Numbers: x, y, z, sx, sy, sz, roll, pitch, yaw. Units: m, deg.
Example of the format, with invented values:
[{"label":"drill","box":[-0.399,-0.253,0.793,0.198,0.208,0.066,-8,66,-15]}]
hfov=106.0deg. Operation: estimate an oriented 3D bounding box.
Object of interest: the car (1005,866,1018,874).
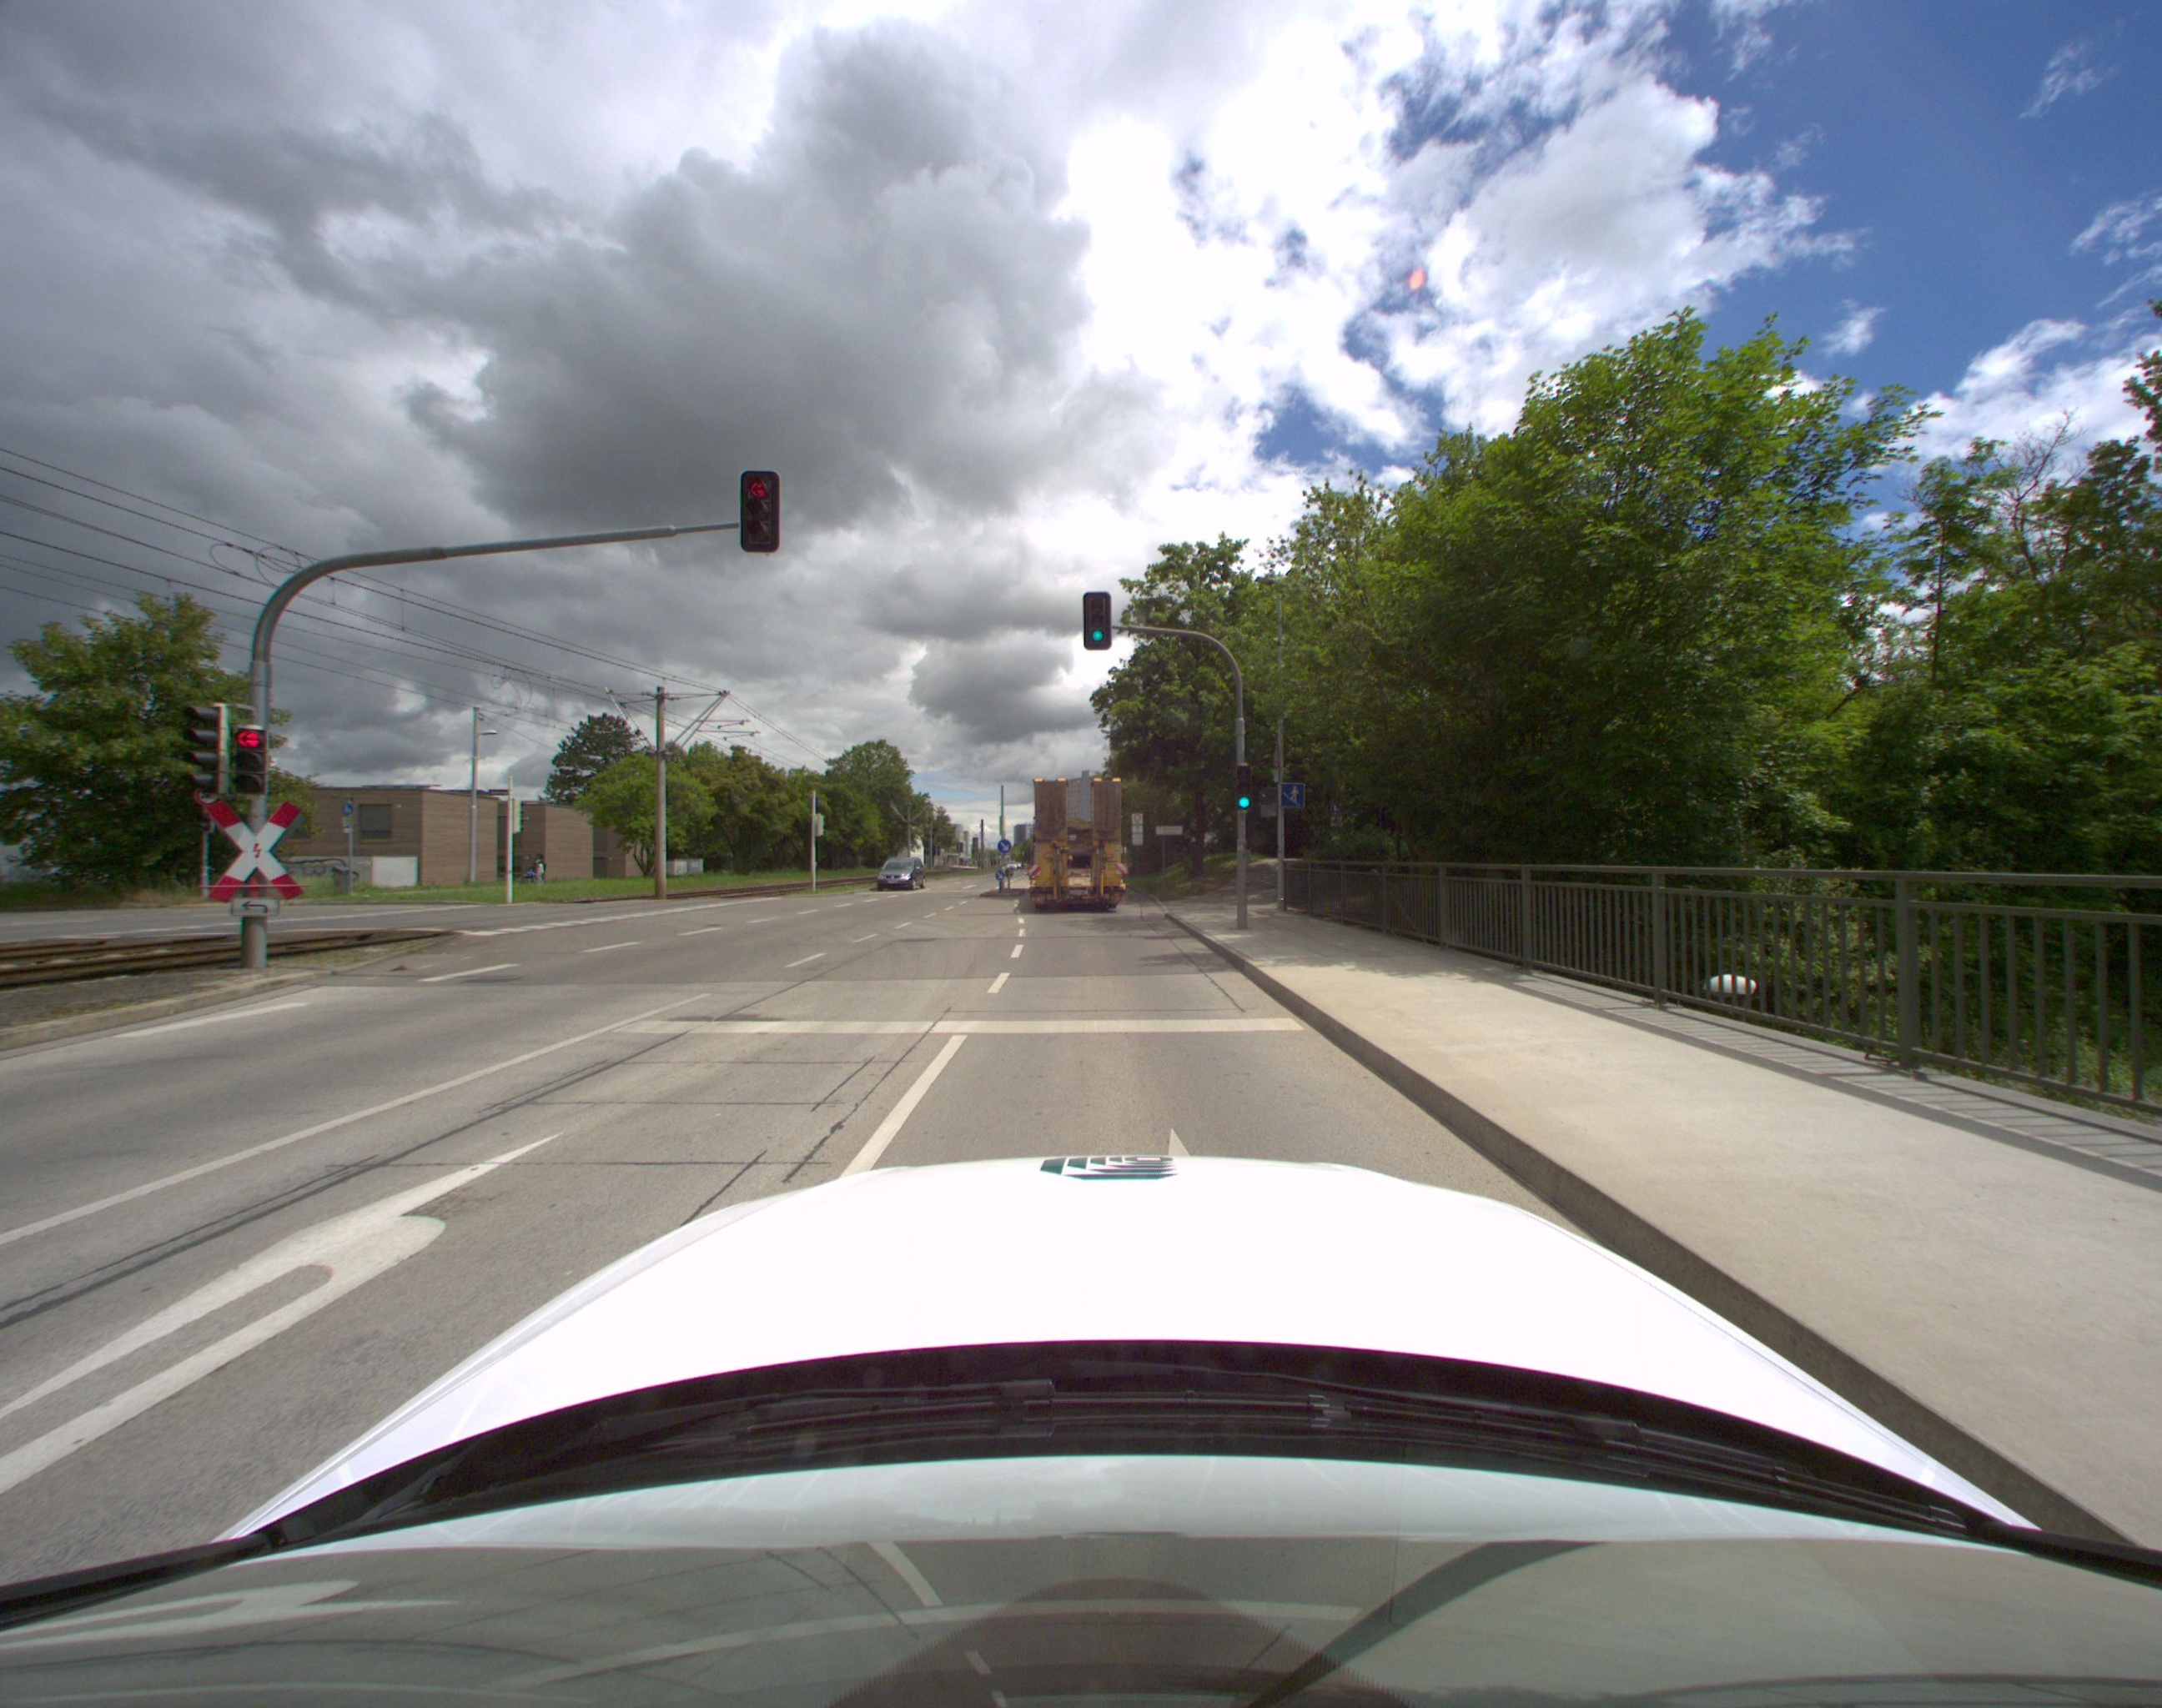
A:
[{"label":"car","box":[-11.633,2.662,136.786,1.779,1.271,4.342,0,-1,-1]}]

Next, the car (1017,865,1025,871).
[{"label":"car","box":[-13.087,2.997,177.806,1.780,1.271,4.340,0,-1,-3]}]

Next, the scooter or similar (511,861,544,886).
[{"label":"scooter or similar","box":[-27.489,0.964,40.467,0.887,1.184,0.973,2,-1,2]}]

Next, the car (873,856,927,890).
[{"label":"car","box":[-8.894,0.917,40.313,1.779,1.570,4.342,0,-1,-1]}]

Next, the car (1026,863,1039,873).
[{"label":"car","box":[-7.961,2.297,133.654,1.987,1.618,3.999,2,-1,0]}]

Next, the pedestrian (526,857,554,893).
[{"label":"pedestrian","box":[-27.455,1.059,41.334,0.798,1.811,0.809,2,-1,3]}]

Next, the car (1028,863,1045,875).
[{"label":"car","box":[-5.949,2.004,109.048,1.987,1.420,3.999,2,-1,0]}]

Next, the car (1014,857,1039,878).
[{"label":"car","box":[-5.057,1.237,75.975,1.987,1.926,3.999,2,-1,0]}]

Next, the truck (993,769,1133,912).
[{"label":"truck","box":[-0.066,-0.289,27.365,3.300,3.651,12.577,1,-1,5]}]

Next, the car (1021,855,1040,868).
[{"label":"car","box":[-6.096,0.900,99.066,1.987,1.420,3.999,2,-1,0]}]

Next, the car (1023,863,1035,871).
[{"label":"car","box":[-8.812,2.191,137.891,1.779,1.271,4.342,0,-1,-1]}]
